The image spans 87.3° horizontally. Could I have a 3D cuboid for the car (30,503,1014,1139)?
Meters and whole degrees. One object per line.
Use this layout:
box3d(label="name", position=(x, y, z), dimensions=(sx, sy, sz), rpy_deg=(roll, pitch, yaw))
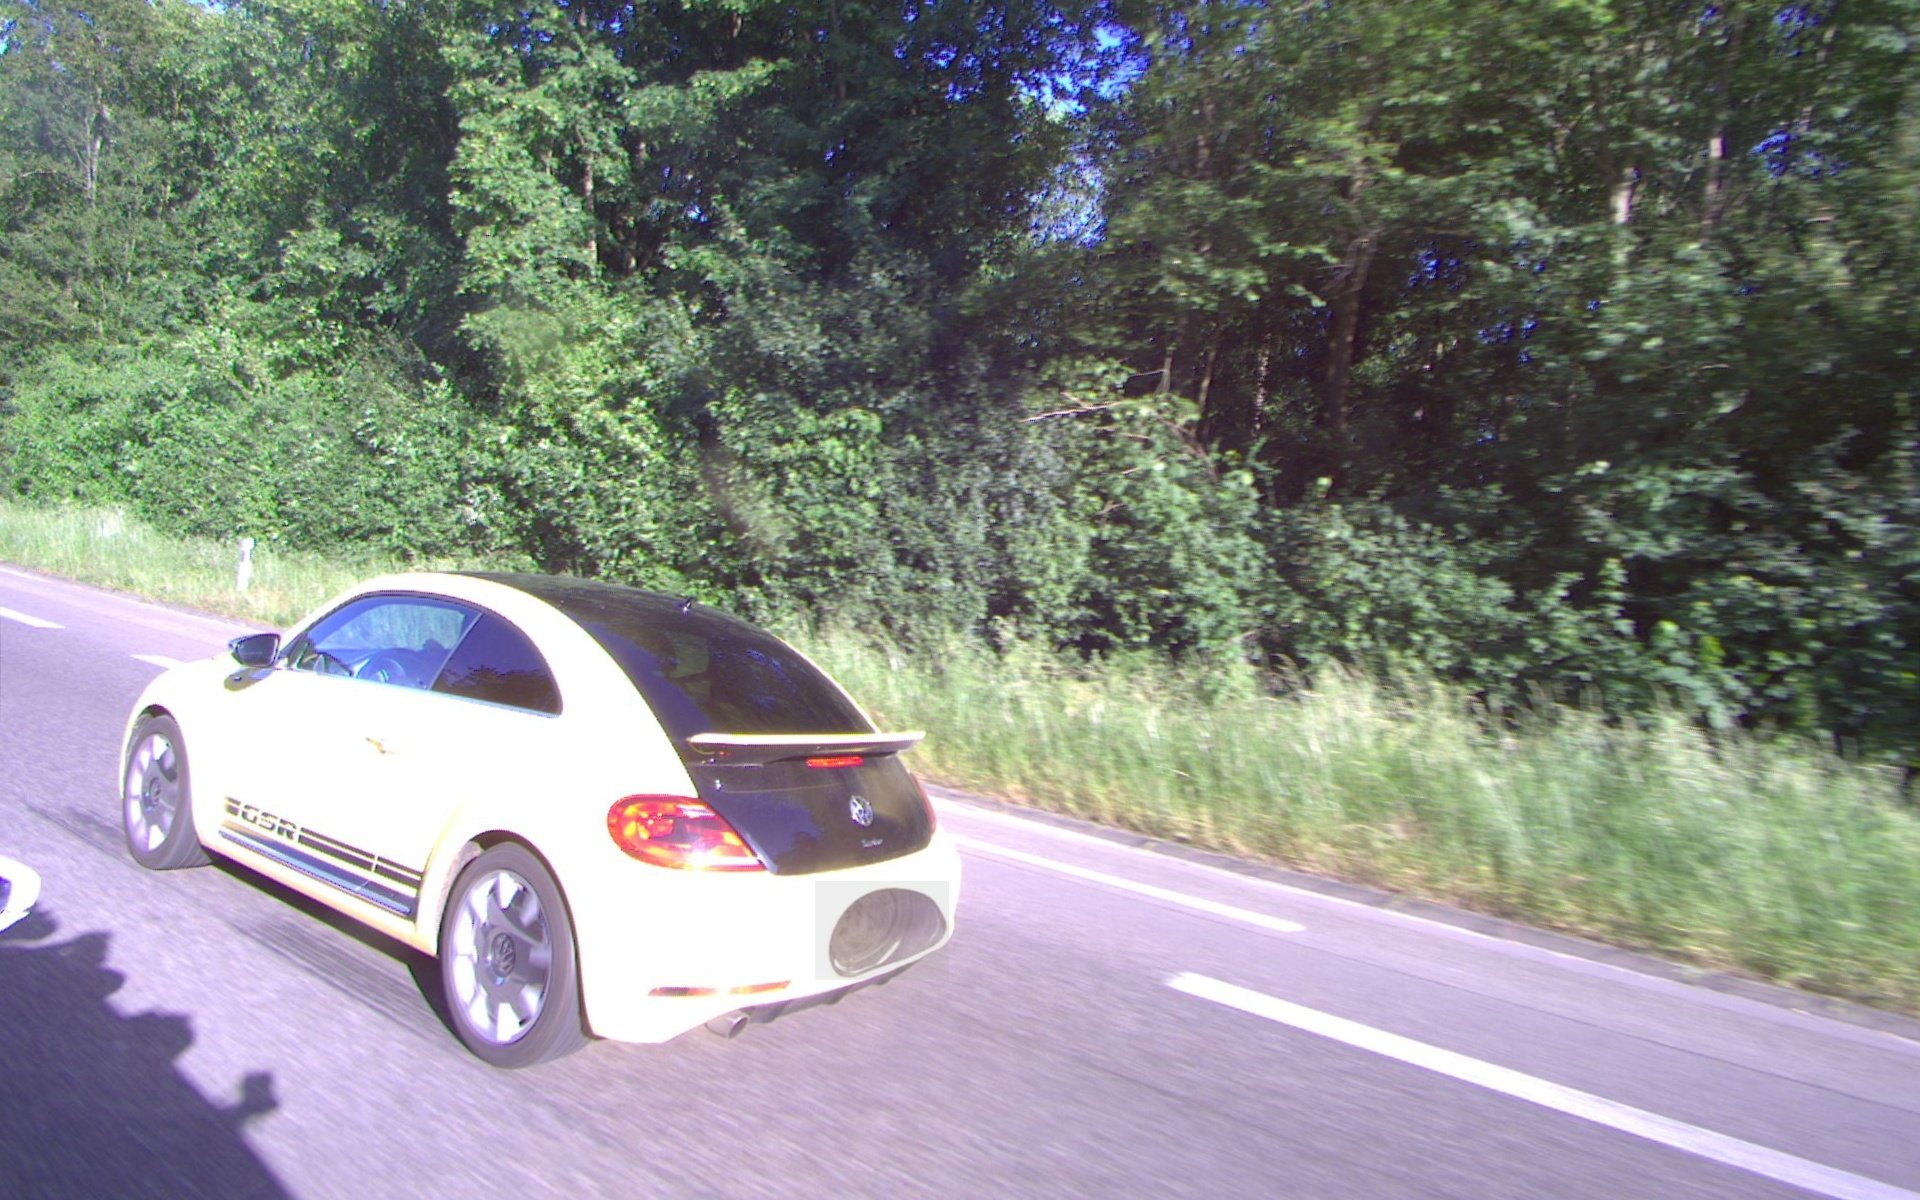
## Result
box3d(label="car", position=(-2.149, 0.560, 4.586), dimensions=(4.283, 1.479, 1.883), rpy_deg=(7, -1, 31))
